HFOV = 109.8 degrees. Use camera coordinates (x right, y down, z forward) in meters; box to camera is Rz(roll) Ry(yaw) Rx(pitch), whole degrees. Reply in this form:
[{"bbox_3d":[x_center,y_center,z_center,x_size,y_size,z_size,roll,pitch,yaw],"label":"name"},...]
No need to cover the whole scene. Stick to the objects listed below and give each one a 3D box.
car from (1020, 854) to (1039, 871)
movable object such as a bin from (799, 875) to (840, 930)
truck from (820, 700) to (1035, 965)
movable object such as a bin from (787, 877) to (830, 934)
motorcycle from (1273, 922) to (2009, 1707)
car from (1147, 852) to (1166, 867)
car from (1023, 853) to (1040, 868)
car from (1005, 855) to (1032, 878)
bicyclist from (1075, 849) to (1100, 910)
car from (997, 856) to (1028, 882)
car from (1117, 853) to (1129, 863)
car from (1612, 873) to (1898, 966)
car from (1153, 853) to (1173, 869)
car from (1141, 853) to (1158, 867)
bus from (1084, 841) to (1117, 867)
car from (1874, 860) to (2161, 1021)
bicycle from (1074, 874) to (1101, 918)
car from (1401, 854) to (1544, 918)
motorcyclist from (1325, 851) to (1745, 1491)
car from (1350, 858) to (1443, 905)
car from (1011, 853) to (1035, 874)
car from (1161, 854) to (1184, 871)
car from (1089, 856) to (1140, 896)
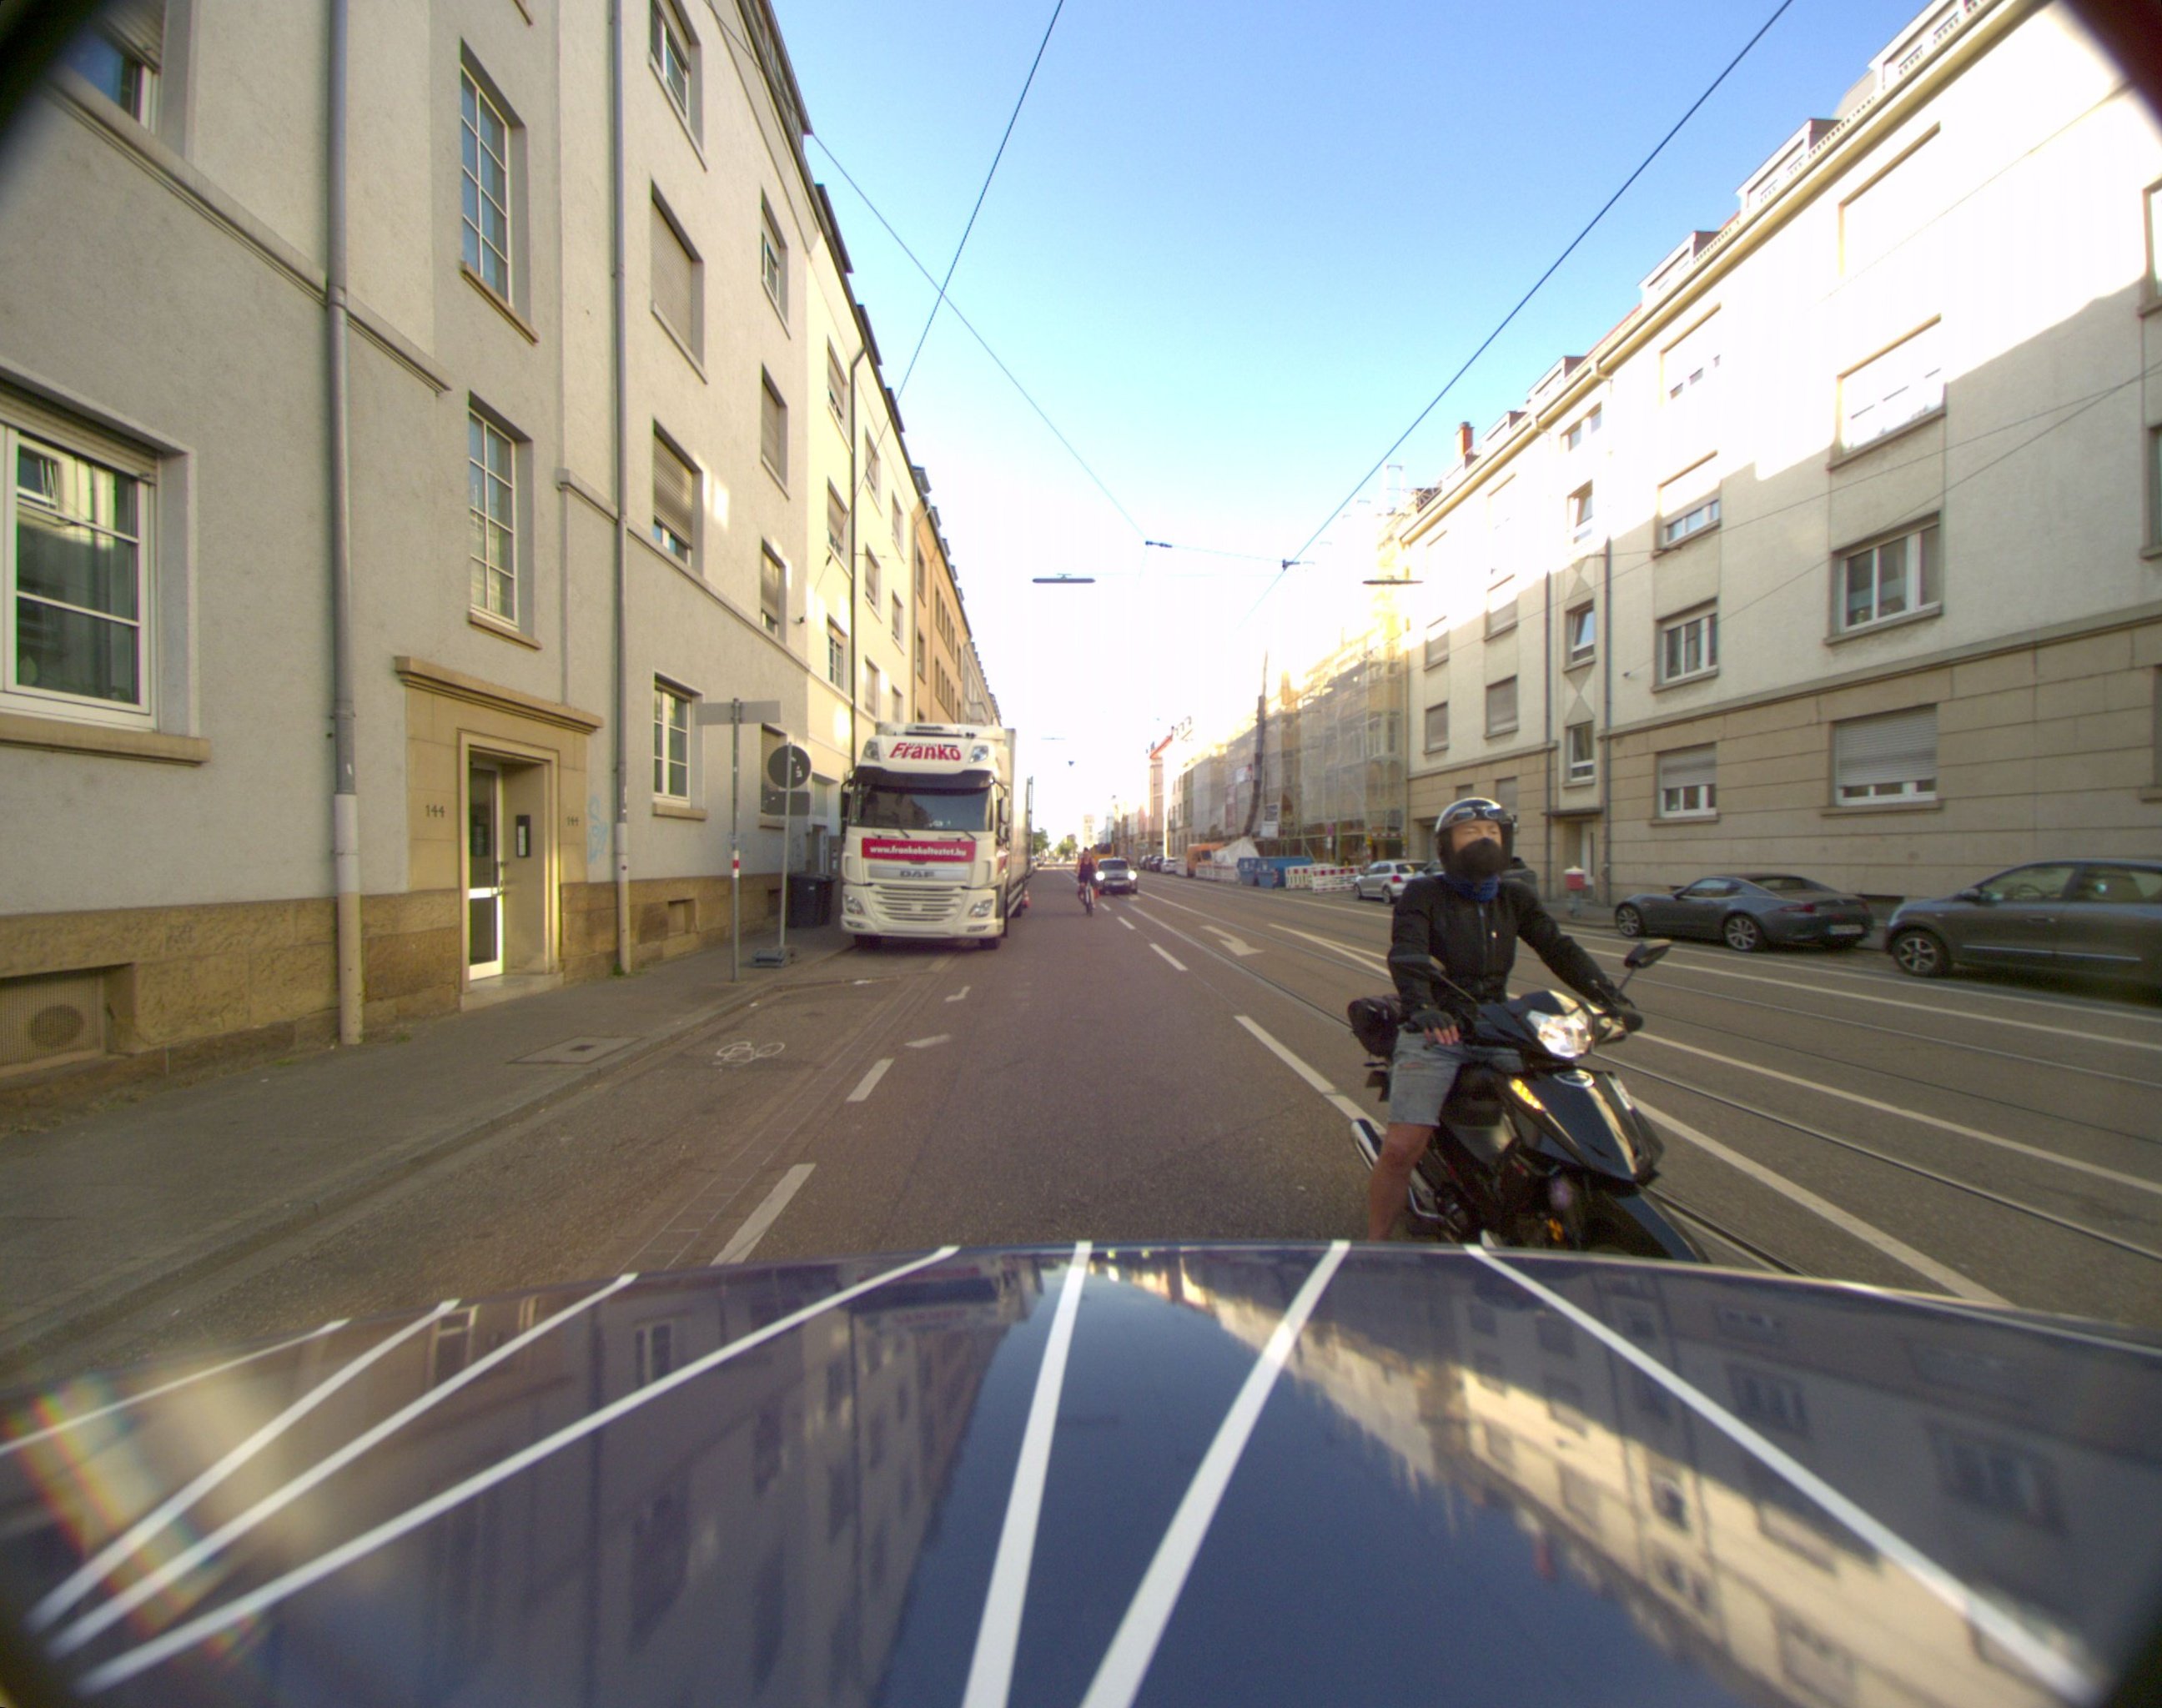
[{"bbox_3d":[-4.863,0.747,72.103,1.685,1.522,4.148,-2,0,-3],"label":"car"},{"bbox_3d":[-5.405,0.996,15.714,0.666,1.087,0.570,0,1,-2],"label":"movable object such as a bin"},{"bbox_3d":[-2.631,-0.323,17.186,2.782,3.903,11.816,0,0,-2],"label":"truck"},{"bbox_3d":[-5.388,1.004,15.045,0.666,1.087,0.570,0,1,-2],"label":"movable object such as a bin"},{"bbox_3d":[1.304,0.972,2.525,0.791,1.284,2.273,0,0,1],"label":"motorcycle"},{"bbox_3d":[8.237,0.619,83.189,1.684,1.573,3.966,-2,0,1],"label":"car"},{"bbox_3d":[-5.358,0.648,82.749,1.685,1.522,4.148,-2,0,-3],"label":"car"},{"bbox_3d":[-4.309,0.827,52.995,1.685,1.522,4.148,-2,0,-3],"label":"car"},{"bbox_3d":[0.163,0.679,20.455,0.618,1.620,0.759,0,1,-3],"label":"bicyclist"},{"bbox_3d":[-4.182,0.895,47.192,1.685,1.522,4.148,-2,0,-3],"label":"car"},{"bbox_3d":[6.589,0.626,118.641,1.684,1.478,3.966,-2,0,1],"label":"car"},{"bbox_3d":[11.175,1.002,12.987,1.520,1.227,3.685,-1,0,-3],"label":"car"},{"bbox_3d":[8.259,0.708,76.816,1.684,1.478,3.966,-2,0,1],"label":"car"},{"bbox_3d":[7.926,0.656,87.885,1.684,1.478,3.966,-2,0,1],"label":"car"},{"bbox_3d":[2.395,-0.018,101.505,2.755,3.095,19.156,0,0,-3],"label":"bus"},{"bbox_3d":[11.412,0.862,8.325,1.679,1.519,3.539,-1,0,-3],"label":"car"},{"bbox_3d":[0.160,1.101,20.443,0.618,1.097,1.885,0,0,-3],"label":"bicycle"},{"bbox_3d":[10.805,0.807,21.337,1.696,1.590,4.206,-1,0,-3],"label":"car"},{"bbox_3d":[1.304,0.815,2.396,0.791,1.645,0.900,0,1,1],"label":"motorcyclist"},{"bbox_3d":[10.604,0.883,25.785,1.543,1.404,3.510,-1,0,-3],"label":"car"},{"bbox_3d":[-4.517,0.745,59.163,1.685,1.522,4.148,-2,0,-3],"label":"car"},{"bbox_3d":[8.564,0.763,71.118,1.684,1.478,3.966,-2,0,1],"label":"car"},{"bbox_3d":[1.324,0.857,31.492,1.685,1.454,4.148,-2,0,-3],"label":"car"}]
